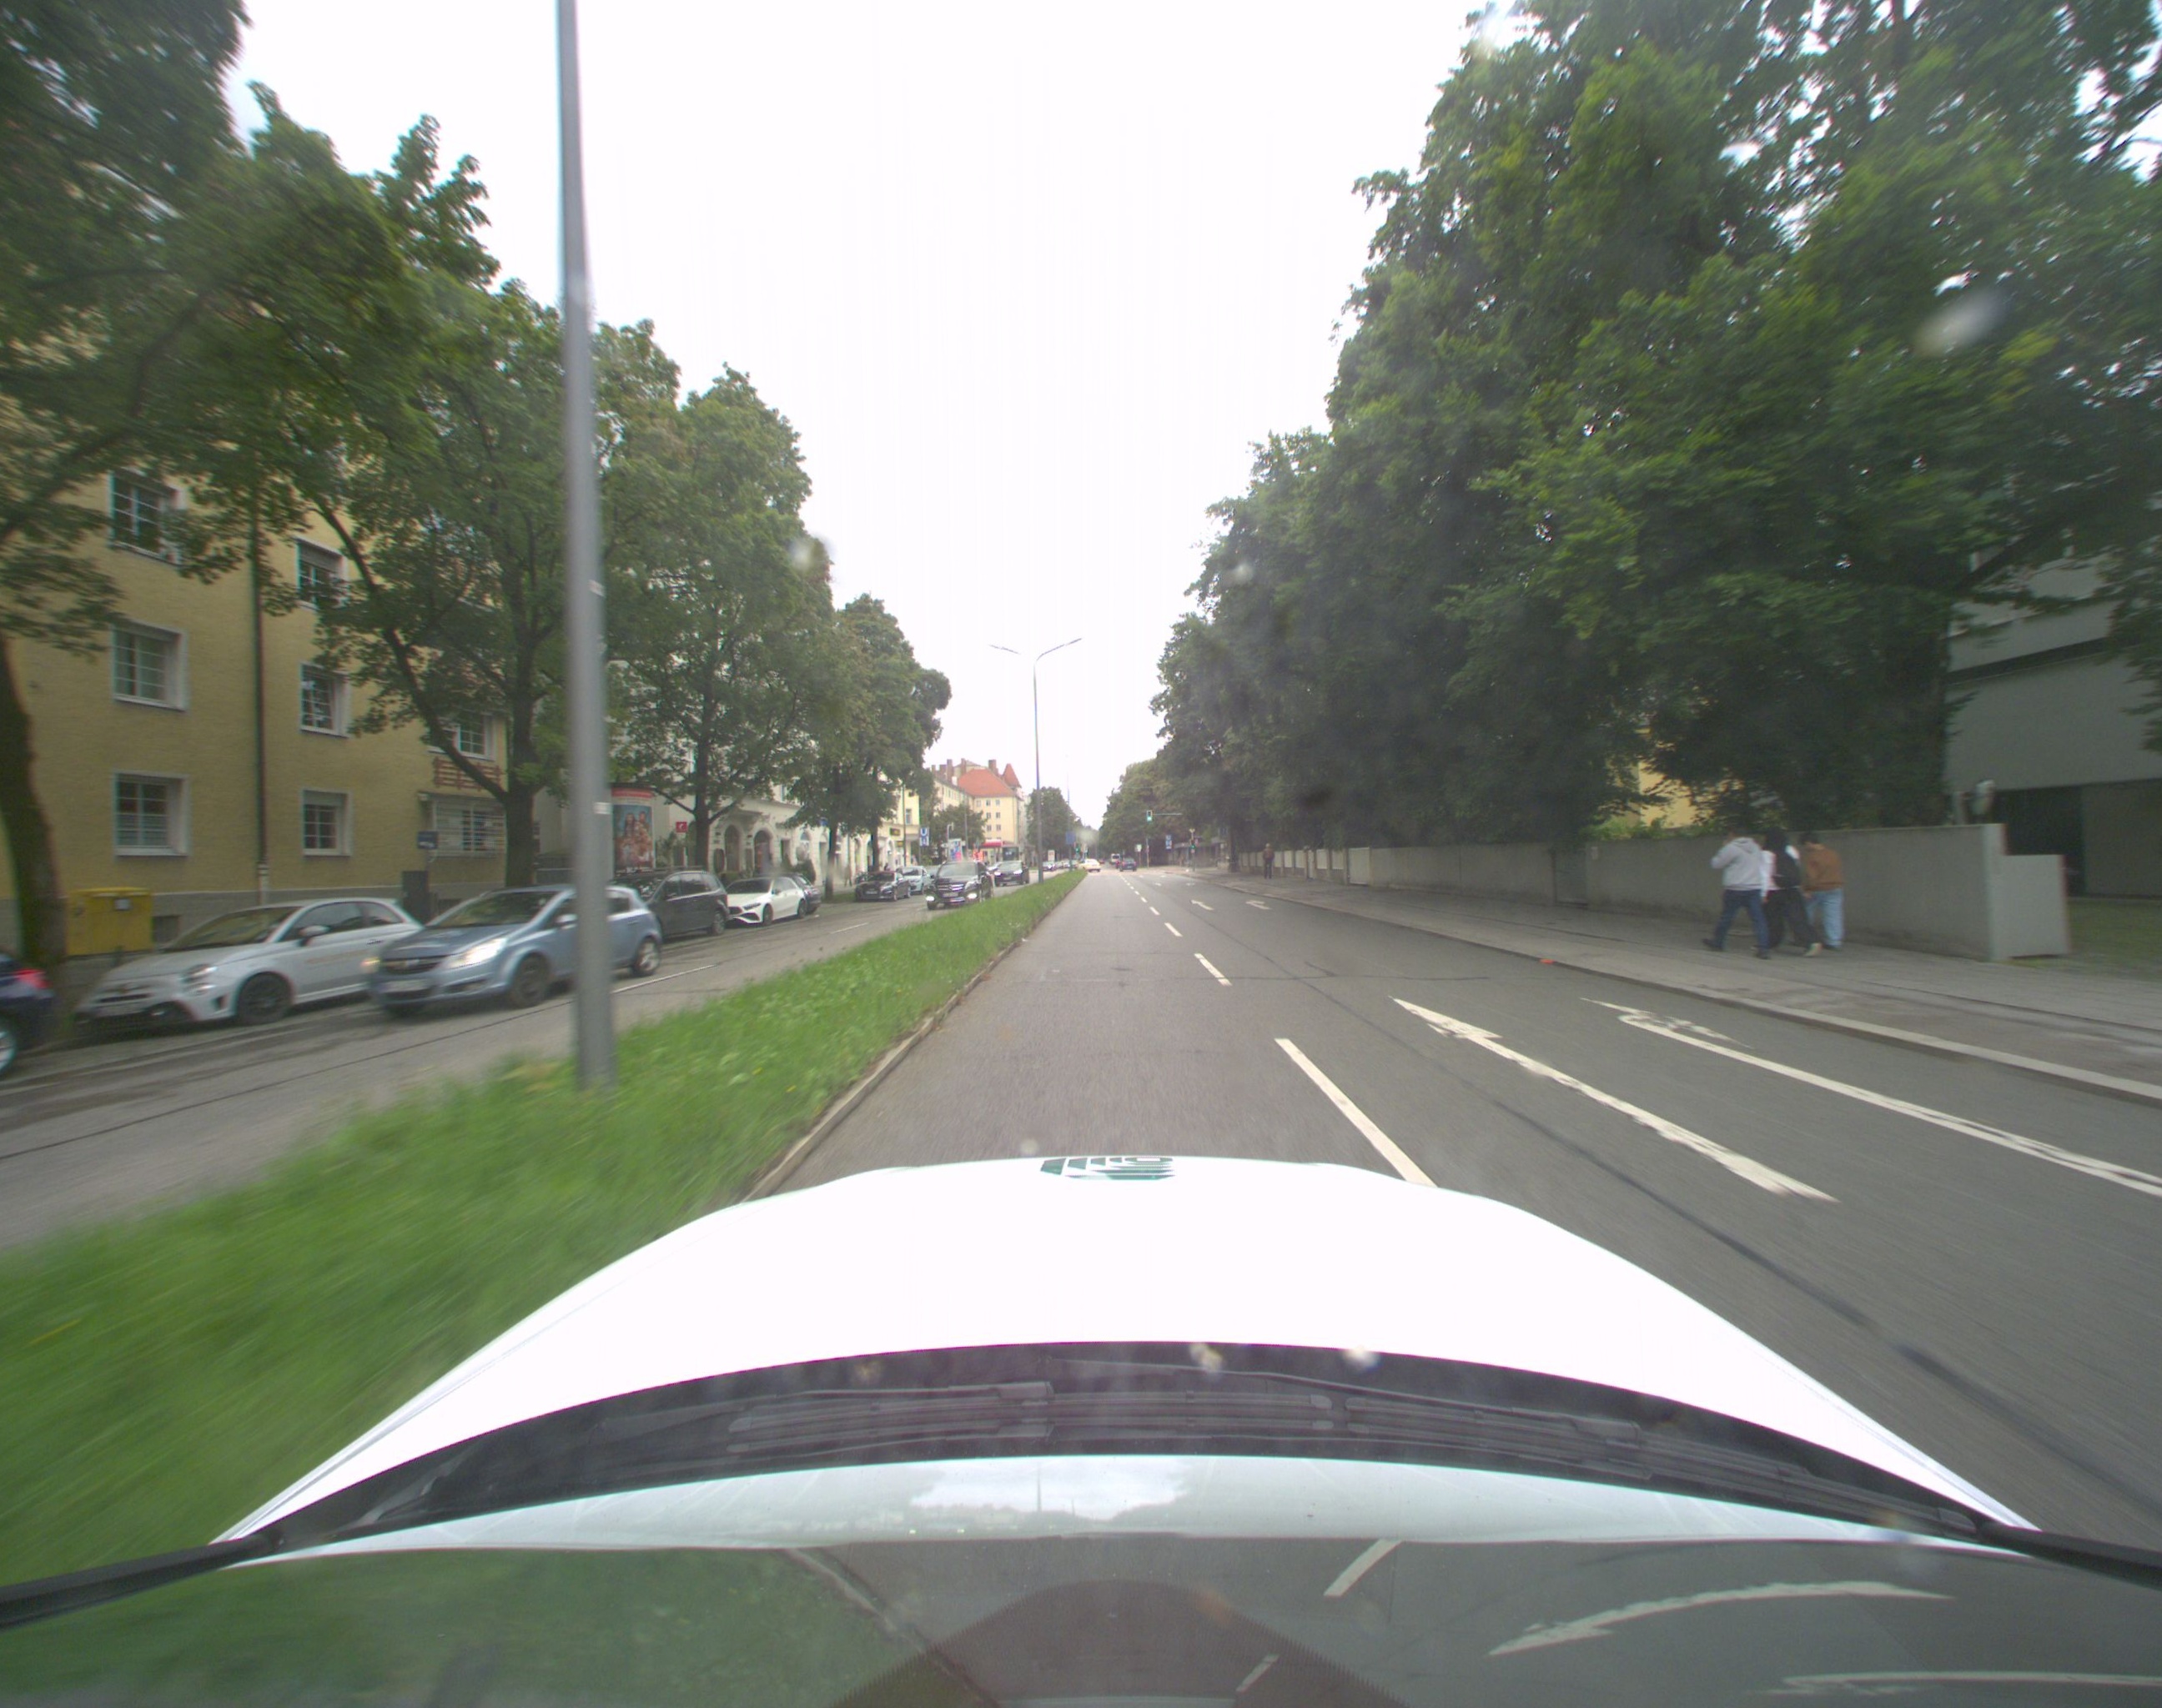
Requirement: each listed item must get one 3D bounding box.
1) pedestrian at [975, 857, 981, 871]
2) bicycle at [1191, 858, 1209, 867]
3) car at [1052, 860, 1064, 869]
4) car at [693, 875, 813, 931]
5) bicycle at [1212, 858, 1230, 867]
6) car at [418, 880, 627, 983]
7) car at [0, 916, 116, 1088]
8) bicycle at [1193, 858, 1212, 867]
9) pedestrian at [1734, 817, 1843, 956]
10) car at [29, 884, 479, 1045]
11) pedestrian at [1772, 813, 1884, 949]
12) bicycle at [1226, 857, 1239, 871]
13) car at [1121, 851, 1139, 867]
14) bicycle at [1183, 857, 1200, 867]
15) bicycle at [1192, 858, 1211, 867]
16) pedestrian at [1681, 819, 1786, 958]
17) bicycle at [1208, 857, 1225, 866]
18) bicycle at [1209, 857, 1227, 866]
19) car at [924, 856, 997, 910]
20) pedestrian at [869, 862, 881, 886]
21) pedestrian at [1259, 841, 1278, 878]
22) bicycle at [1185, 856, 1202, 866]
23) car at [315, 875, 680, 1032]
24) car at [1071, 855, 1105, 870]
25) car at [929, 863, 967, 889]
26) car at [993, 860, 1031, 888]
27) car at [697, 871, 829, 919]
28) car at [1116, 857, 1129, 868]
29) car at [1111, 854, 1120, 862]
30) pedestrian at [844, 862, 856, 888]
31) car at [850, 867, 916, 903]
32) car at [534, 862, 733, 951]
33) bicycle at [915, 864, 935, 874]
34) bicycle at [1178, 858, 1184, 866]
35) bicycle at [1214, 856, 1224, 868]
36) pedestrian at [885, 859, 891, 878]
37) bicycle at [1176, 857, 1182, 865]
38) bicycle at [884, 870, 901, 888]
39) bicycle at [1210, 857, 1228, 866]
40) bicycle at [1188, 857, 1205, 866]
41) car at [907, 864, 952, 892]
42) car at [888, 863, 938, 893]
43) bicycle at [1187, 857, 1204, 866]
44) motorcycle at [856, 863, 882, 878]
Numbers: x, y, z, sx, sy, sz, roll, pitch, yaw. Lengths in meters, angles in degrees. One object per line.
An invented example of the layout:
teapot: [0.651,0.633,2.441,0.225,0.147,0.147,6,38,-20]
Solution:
pedestrian: [-12.814,1.211,101.366,0.531,1.695,0.579,-2,-1,10]
bicycle: [14.584,1.068,99.874,2.130,1.071,0.604,-2,-1,9]
car: [-3.904,1.807,137.690,1.753,1.460,4.001,-2,0,1]
car: [-9.817,1.409,24.756,1.720,1.403,4.405,-2,0,2]
bicycle: [17.059,1.028,99.318,2.130,1.014,0.636,-2,-1,9]
car: [-10.036,1.331,14.927,1.721,1.558,3.009,-2,0,0]
car: [-10.148,1.311,5.597,1.720,1.406,4.364,-2,0,2]
bicycle: [14.768,1.032,98.993,2.130,1.014,0.636,-2,-1,9]
pedestrian: [9.111,0.406,10.514,0.664,1.693,0.729,-4,-1,0]
car: [-10.437,1.269,10.820,1.720,1.561,4.058,-2,0,2]
pedestrian: [9.899,0.350,10.817,0.664,1.705,0.766,-4,-1,0]
bicycle: [11.610,0.762,62.359,0.620,1.090,2.026,-2,0,1]
car: [5.477,0.522,91.253,1.850,1.684,4.001,-2,0,1]
bicycle: [14.277,0.984,104.951,2.130,1.219,0.604,-2,-1,9]
bicycle: [14.551,1.046,98.372,2.130,1.014,0.604,-2,-1,9]
pedestrian: [8.518,0.439,10.659,0.664,1.722,0.729,-4,-1,0]
bicycle: [16.900,0.957,101.614,2.130,1.014,0.636,-2,-1,9]
bicycle: [16.958,0.948,100.818,2.130,1.014,0.636,-2,-1,9]
car: [-4.223,0.973,29.170,1.763,1.679,4.370,-3,0,2]
pedestrian: [-15.081,1.444,59.641,0.594,1.697,0.937,-2,-1,-26]
pedestrian: [10.257,0.298,44.639,0.775,1.942,0.802,-3,-1,1]
bicycle: [14.210,0.909,102.649,2.130,1.178,0.604,-2,-1,9]
car: [-7.403,1.143,10.963,1.804,1.507,4.058,-5,0,2]
car: [0.707,1.002,91.789,1.789,1.647,4.737,-2,0,-28]
car: [-8.769,1.420,53.957,1.642,1.585,3.793,-2,0,3]
car: [-4.512,1.294,53.994,1.868,1.585,4.622,-4,0,2]
car: [-11.046,1.405,28.503,3.877,1.464,1.732,-2,0,0]
car: [5.969,1.243,117.783,1.772,1.474,3.894,-1,0,2]
car: [7.738,0.900,182.046,1.986,1.756,4.001,-2,0,1]
pedestrian: [-15.366,1.368,54.166,0.541,1.697,0.770,-2,-1,-1]
car: [-9.307,1.432,38.676,1.804,1.507,4.647,-2,0,2]
car: [-10.094,1.087,18.895,1.803,1.728,4.769,-2,0,2]
bicycle: [-19.841,1.886,103.479,2.394,1.251,0.789,0,-1,-10]
bicycle: [13.172,1.023,107.489,0.555,1.014,2.015,-2,0,0]
bicycle: [13.128,0.781,77.483,0.597,1.121,1.890,-2,-1,2]
pedestrian: [-16.262,1.212,68.749,0.422,1.631,0.779,-2,-1,-13]
bicycle: [13.301,0.946,110.222,0.555,1.014,2.015,-2,0,0]
bicycle: [-12.459,1.645,53.727,0.551,1.115,1.863,-2,0,-30]
bicycle: [16.930,0.937,100.051,2.130,1.014,0.636,-2,-1,9]
bicycle: [14.341,0.975,101.178,2.130,1.014,0.604,-2,-1,9]
car: [-9.120,1.433,49.354,1.804,1.507,4.292,-2,0,2]
car: [-9.239,1.288,45.055,1.804,1.507,3.962,-2,0,2]
bicycle: [14.321,0.947,101.909,2.130,1.086,0.604,-2,-1,9]
motorcycle: [-16.674,1.262,64.066,0.602,1.130,1.999,-2,-1,41]
